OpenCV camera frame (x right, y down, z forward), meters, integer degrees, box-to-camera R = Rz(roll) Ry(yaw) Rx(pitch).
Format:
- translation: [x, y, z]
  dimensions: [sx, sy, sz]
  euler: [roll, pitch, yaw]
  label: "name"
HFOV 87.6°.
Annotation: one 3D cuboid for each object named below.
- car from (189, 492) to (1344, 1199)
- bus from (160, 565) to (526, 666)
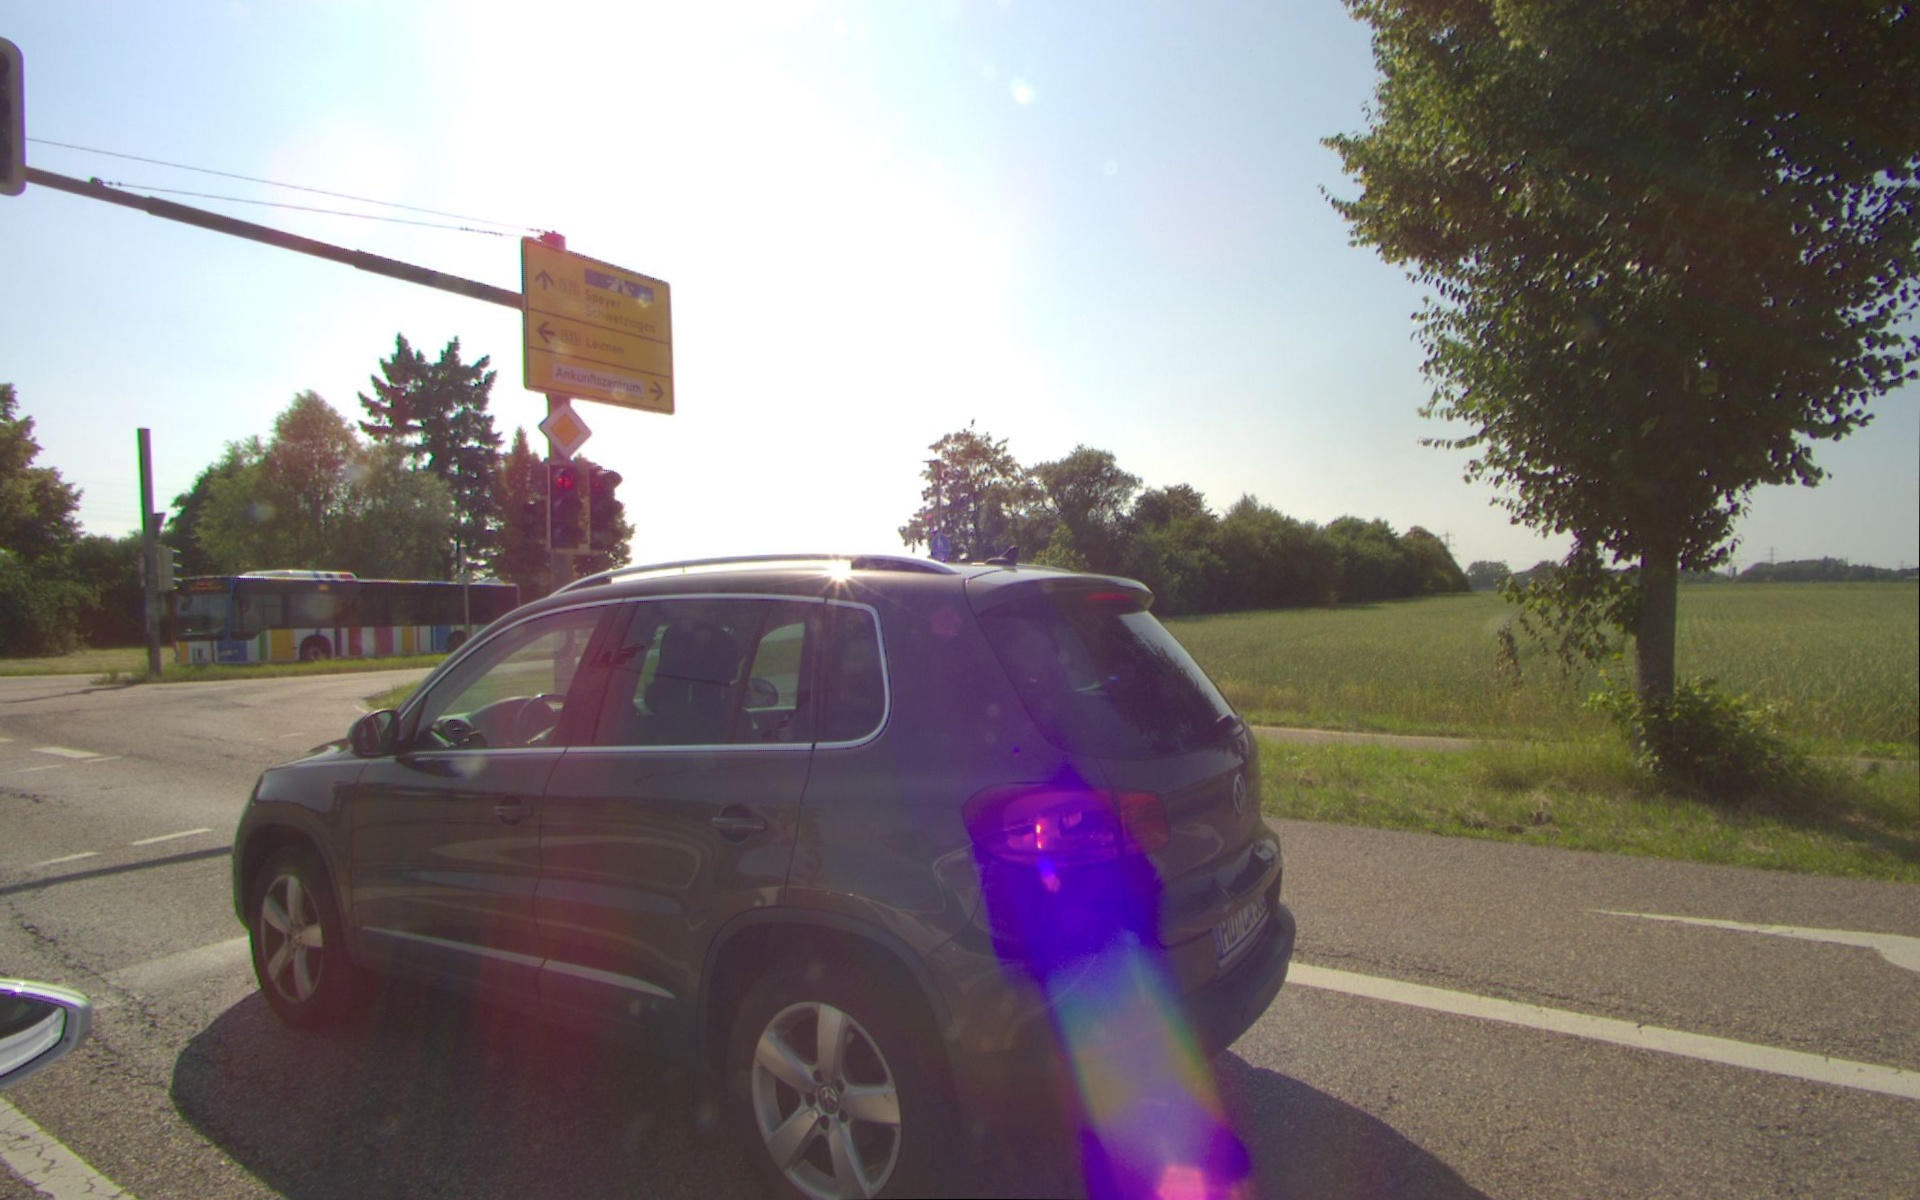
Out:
- translation: [-0.898, 0.691, 3.691]
  dimensions: [4.086, 1.677, 1.753]
  euler: [-1, -2, 32]
  label: "car"
- translation: [-20.746, 0.404, 35.233]
  dimensions: [2.889, 2.916, 11.955]
  euler: [-1, 0, 17]
  label: "bus"
